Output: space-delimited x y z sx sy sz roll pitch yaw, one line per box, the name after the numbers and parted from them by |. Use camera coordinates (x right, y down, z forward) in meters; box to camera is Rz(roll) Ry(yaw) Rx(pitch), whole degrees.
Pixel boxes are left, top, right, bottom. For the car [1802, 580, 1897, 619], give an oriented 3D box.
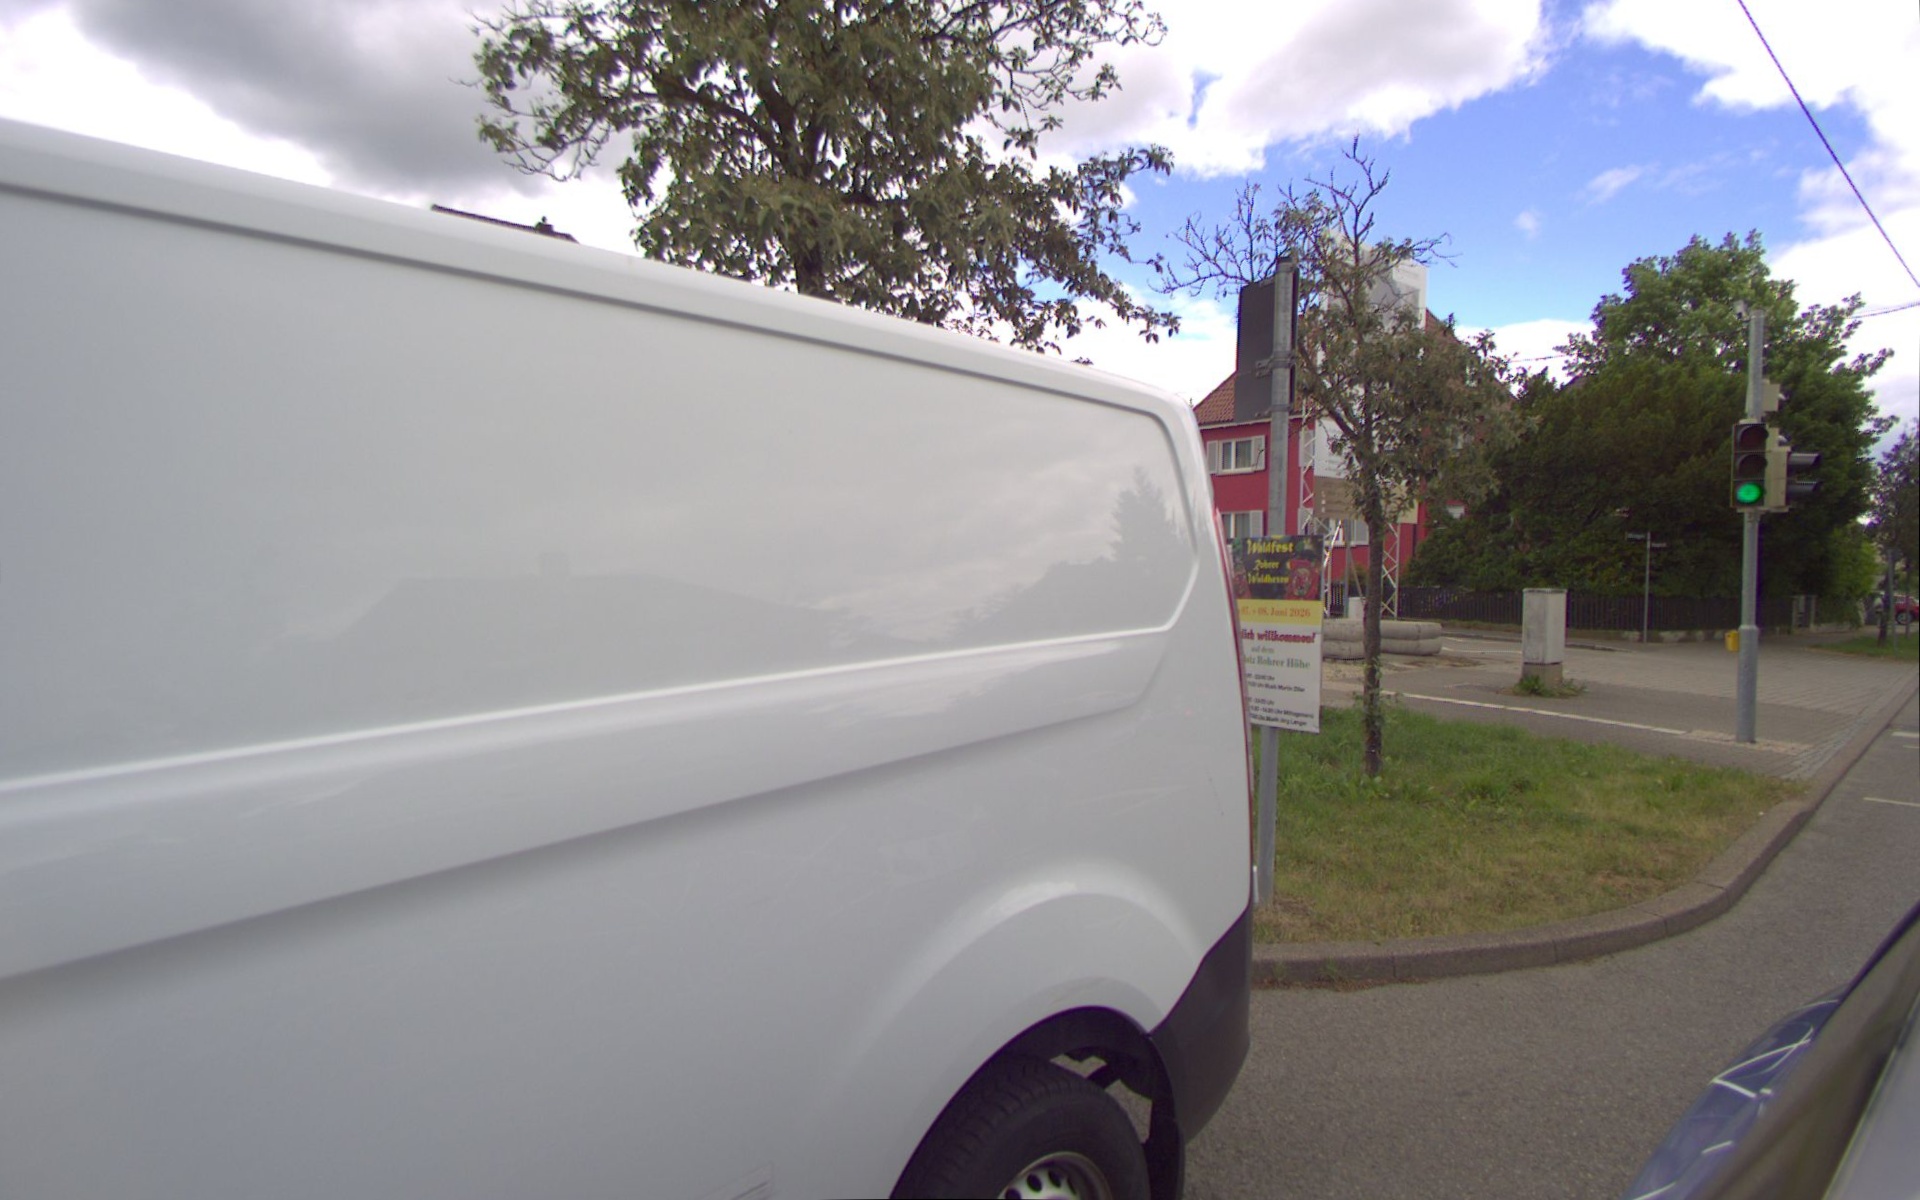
44.486 -0.052 50.631 1.554 1.653 3.357 0 5 -43 | car

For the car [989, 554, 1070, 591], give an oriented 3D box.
3.051 -1.182 44.293 3.441 1.560 1.620 0 0 -42 | car

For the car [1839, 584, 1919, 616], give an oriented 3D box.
47.333 -0.005 51.873 3.352 1.477 1.722 3 3 44 | car

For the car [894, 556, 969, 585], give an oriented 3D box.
-1.382 -1.428 49.906 3.441 1.341 1.620 -1 0 -42 | car

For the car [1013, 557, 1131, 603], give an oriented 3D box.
4.046 -0.760 37.169 1.730 1.442 4.228 2 2 -41 | car

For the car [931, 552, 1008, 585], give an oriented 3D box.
0.463 -1.437 47.797 3.441 1.486 1.620 0 0 -42 | car

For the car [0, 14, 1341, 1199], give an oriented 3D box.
-1.496 0.496 1.382 4.705 1.968 1.778 0 0 -41 | car
